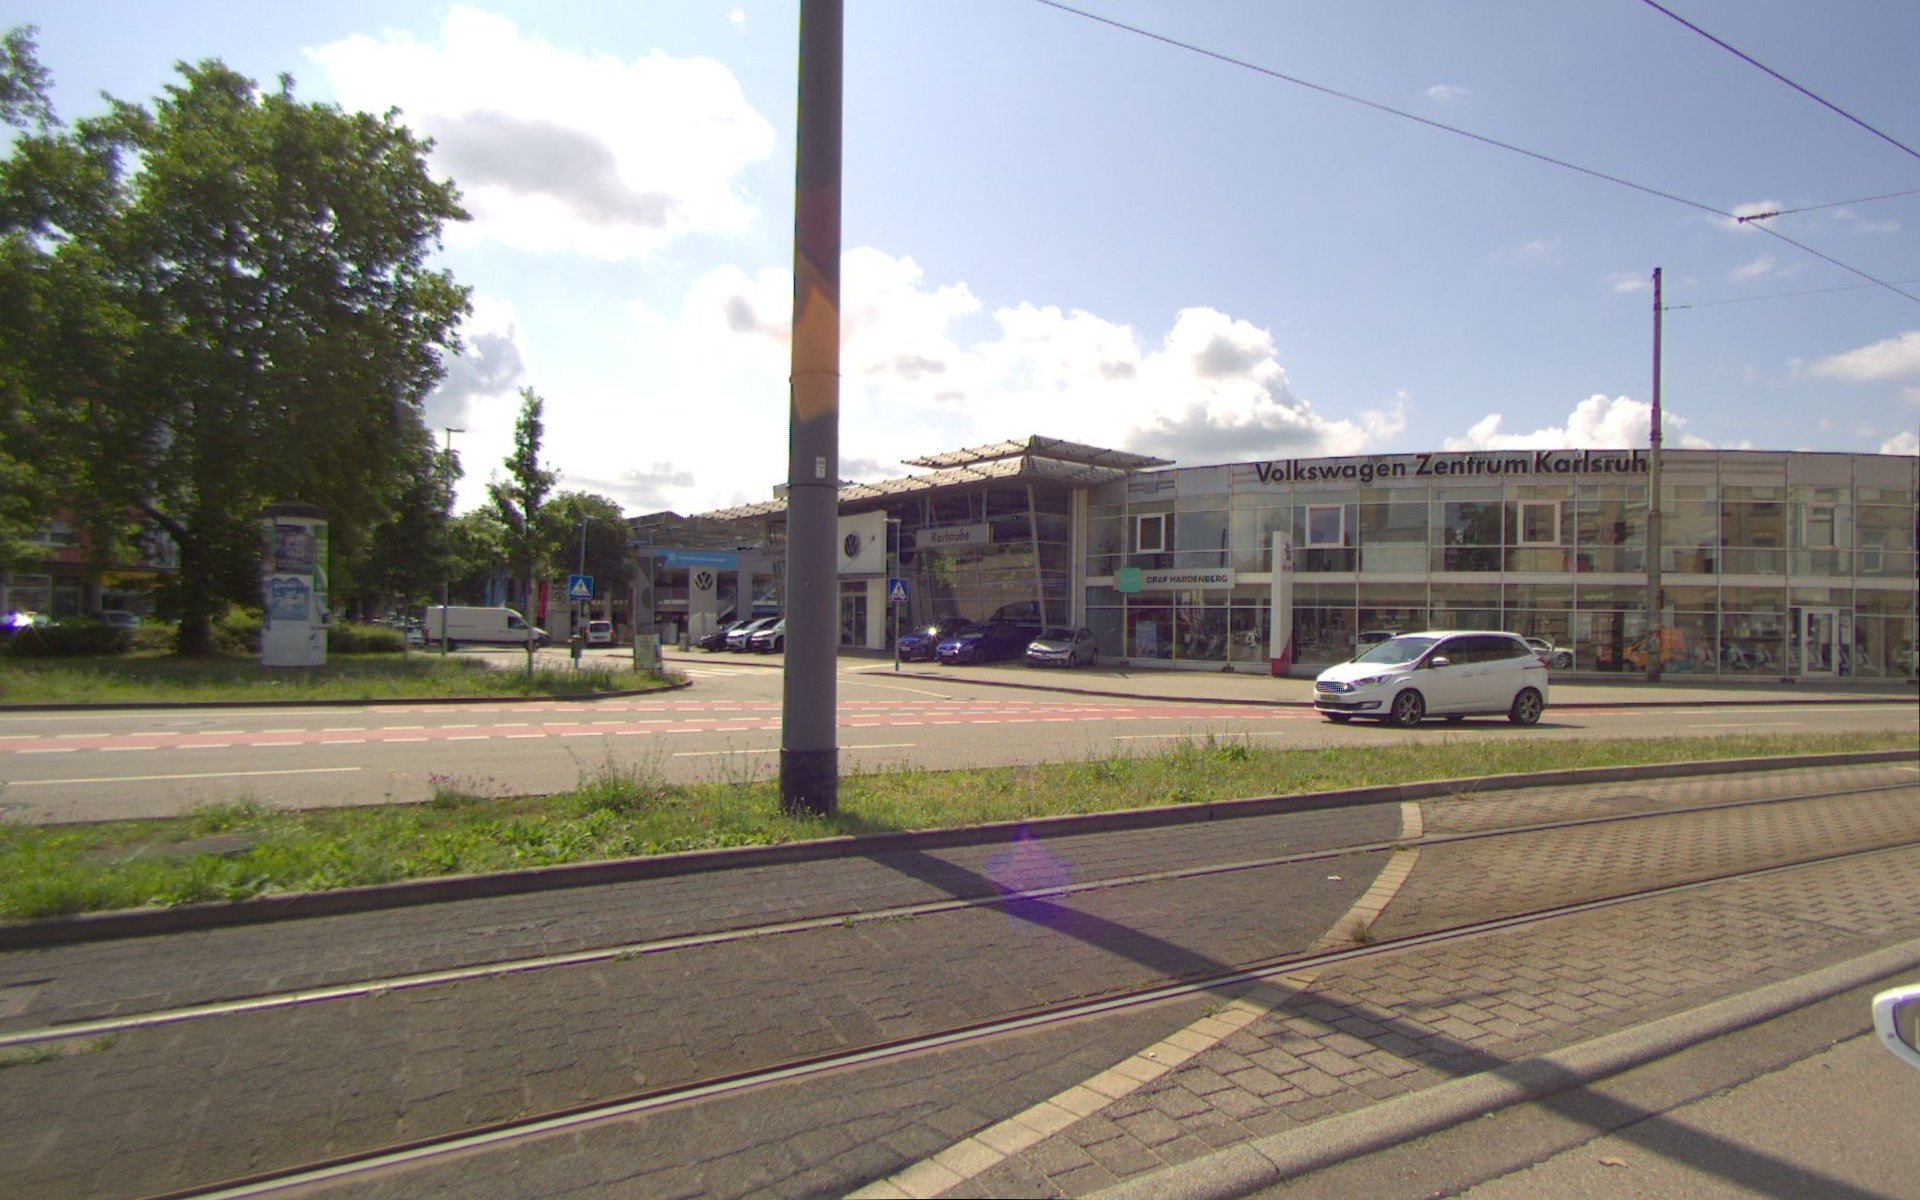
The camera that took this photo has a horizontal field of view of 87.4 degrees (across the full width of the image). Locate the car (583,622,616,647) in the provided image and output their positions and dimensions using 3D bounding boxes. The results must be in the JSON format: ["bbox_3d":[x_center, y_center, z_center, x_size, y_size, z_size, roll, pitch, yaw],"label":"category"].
[{"bbox_3d":[-24.347,2.303,67.734,1.971,1.639,3.980,2,-2,-22],"label":"car"}]

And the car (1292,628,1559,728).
[{"bbox_3d":[8.294,1.341,17.908,4.427,1.625,1.764,1,-2,-21],"label":"car"}]

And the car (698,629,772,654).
[{"bbox_3d":[-11.859,2.186,53.086,1.533,1.262,3.624,0,-2,38],"label":"car"}]

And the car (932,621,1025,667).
[{"bbox_3d":[0.746,1.625,38.139,1.634,1.493,3.771,0,1,38],"label":"car"}]

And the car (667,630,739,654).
[{"bbox_3d":[-14.011,2.296,54.895,1.533,1.262,3.624,0,-2,38],"label":"car"}]

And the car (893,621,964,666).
[{"bbox_3d":[-1.220,1.735,40.611,1.741,1.695,3.641,1,-1,18],"label":"car"}]

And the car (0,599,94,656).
[{"bbox_3d":[-34.290,1.012,37.500,3.933,2.040,1.994,0,-1,34],"label":"car"}]

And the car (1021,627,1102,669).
[{"bbox_3d":[3.855,1.752,37.525,1.800,1.466,3.943,0,-1,25],"label":"car"}]

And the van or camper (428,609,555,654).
[{"bbox_3d":[-27.493,1.853,59.288,6.583,2.532,2.567,1,-1,-21],"label":"van or camper"}]

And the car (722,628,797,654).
[{"bbox_3d":[-10.238,2.076,51.449,1.535,1.262,3.620,0,-2,42],"label":"car"}]

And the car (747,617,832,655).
[{"bbox_3d":[-8.374,1.769,49.621,3.837,1.797,1.679,2,-2,-43],"label":"car"}]
